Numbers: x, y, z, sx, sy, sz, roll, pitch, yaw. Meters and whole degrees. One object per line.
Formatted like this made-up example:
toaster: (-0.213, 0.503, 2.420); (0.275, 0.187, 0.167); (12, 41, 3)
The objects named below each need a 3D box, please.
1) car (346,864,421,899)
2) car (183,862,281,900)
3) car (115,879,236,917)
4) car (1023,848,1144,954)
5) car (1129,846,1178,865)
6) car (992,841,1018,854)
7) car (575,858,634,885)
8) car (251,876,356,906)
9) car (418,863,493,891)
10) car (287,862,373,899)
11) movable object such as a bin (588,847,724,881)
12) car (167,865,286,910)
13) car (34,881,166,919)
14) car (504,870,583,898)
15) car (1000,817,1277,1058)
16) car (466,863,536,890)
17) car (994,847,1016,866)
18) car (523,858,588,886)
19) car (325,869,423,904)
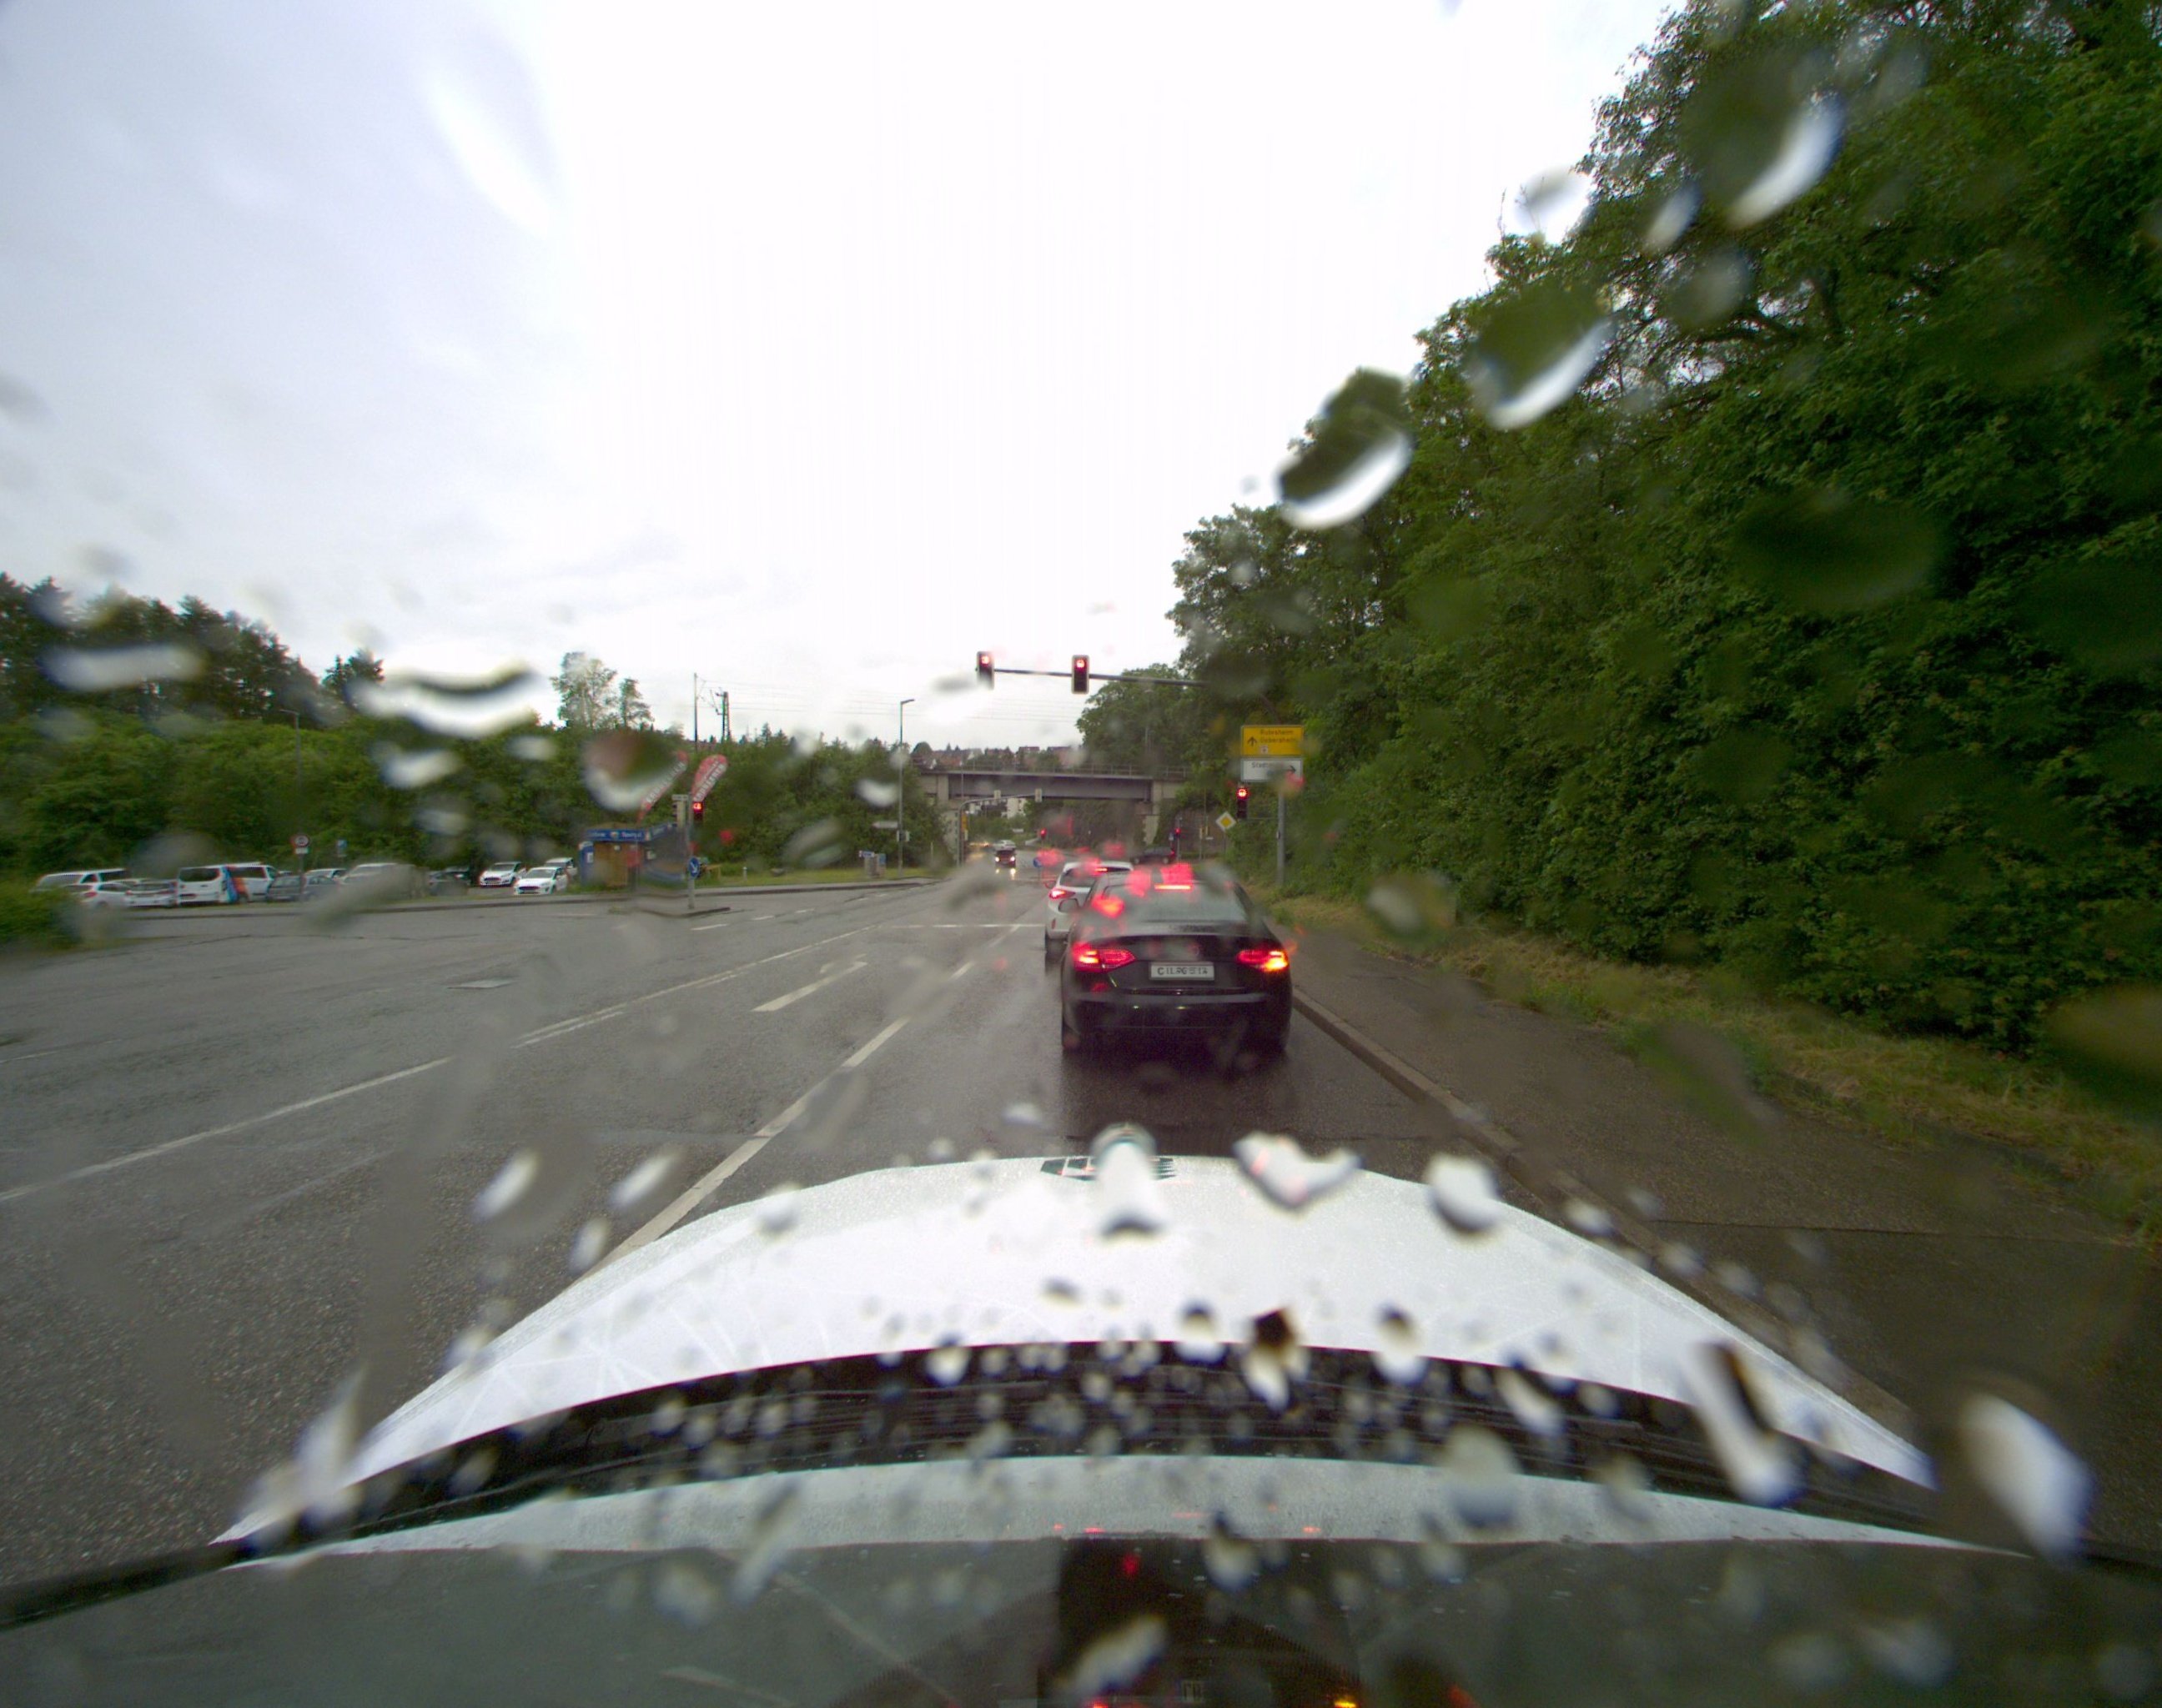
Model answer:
car: (-42.192, 1.613, 49.365); (1.941, 2.013, 3.849); (0, 0, -15)
car: (-49.285, 1.528, 47.382); (1.995, 2.013, 3.983); (-1, 0, -12)
car: (-41.748, 1.994, 37.688); (1.858, 1.585, 3.978); (0, -1, -16)
car: (0.099, 0.747, 14.320); (1.816, 1.585, 4.001); (-1, -1, 2)
car: (6.567, 0.108, 73.455); (3.955, 1.596, 2.009); (-2, 0, 18)
car: (-10.632, -0.871, 113.898); (1.817, 1.742, 4.435); (0, -1, -32)
car: (-30.400, 1.092, 52.115); (1.994, 1.585, 3.985); (-2, 0, -11)
car: (-37.184, 1.723, 39.111); (1.751, 1.310, 3.984); (0, -1, -11)
car: (-37.972, 1.383, 49.550); (1.994, 1.585, 3.984); (0, -1, -11)
car: (-44.791, 1.545, 48.687); (1.995, 2.013, 3.983); (-2, 0, -12)
movable object such as a bin: (-22.384, 0.528, 43.085); (2.716, 1.628, 5.816); (-2, -1, 41)
car: (-39.462, 1.518, 37.768); (1.997, 1.949, 3.978); (0, -1, -16)
car: (-44.382, 2.033, 36.980); (1.837, 1.585, 3.978); (0, -1, -16)
car: (-27.801, 1.529, 42.286); (1.652, 1.340, 4.883); (0, -1, -11)
car: (0.447, 0.605, 7.544); (1.863, 1.617, 4.001); (-1, -1, 2)
car: (-35.387, 1.355, 49.827); (1.994, 1.585, 3.984); (0, -1, -11)
car: (-7.010, 0.257, 75.249); (1.990, 1.628, 3.993); (-1, 0, -5)
car: (-32.636, 1.093, 50.712); (1.994, 1.585, 3.985); (-2, 0, -11)
car: (-34.656, 1.573, 40.075); (1.937, 1.585, 3.892); (0, -1, -11)
